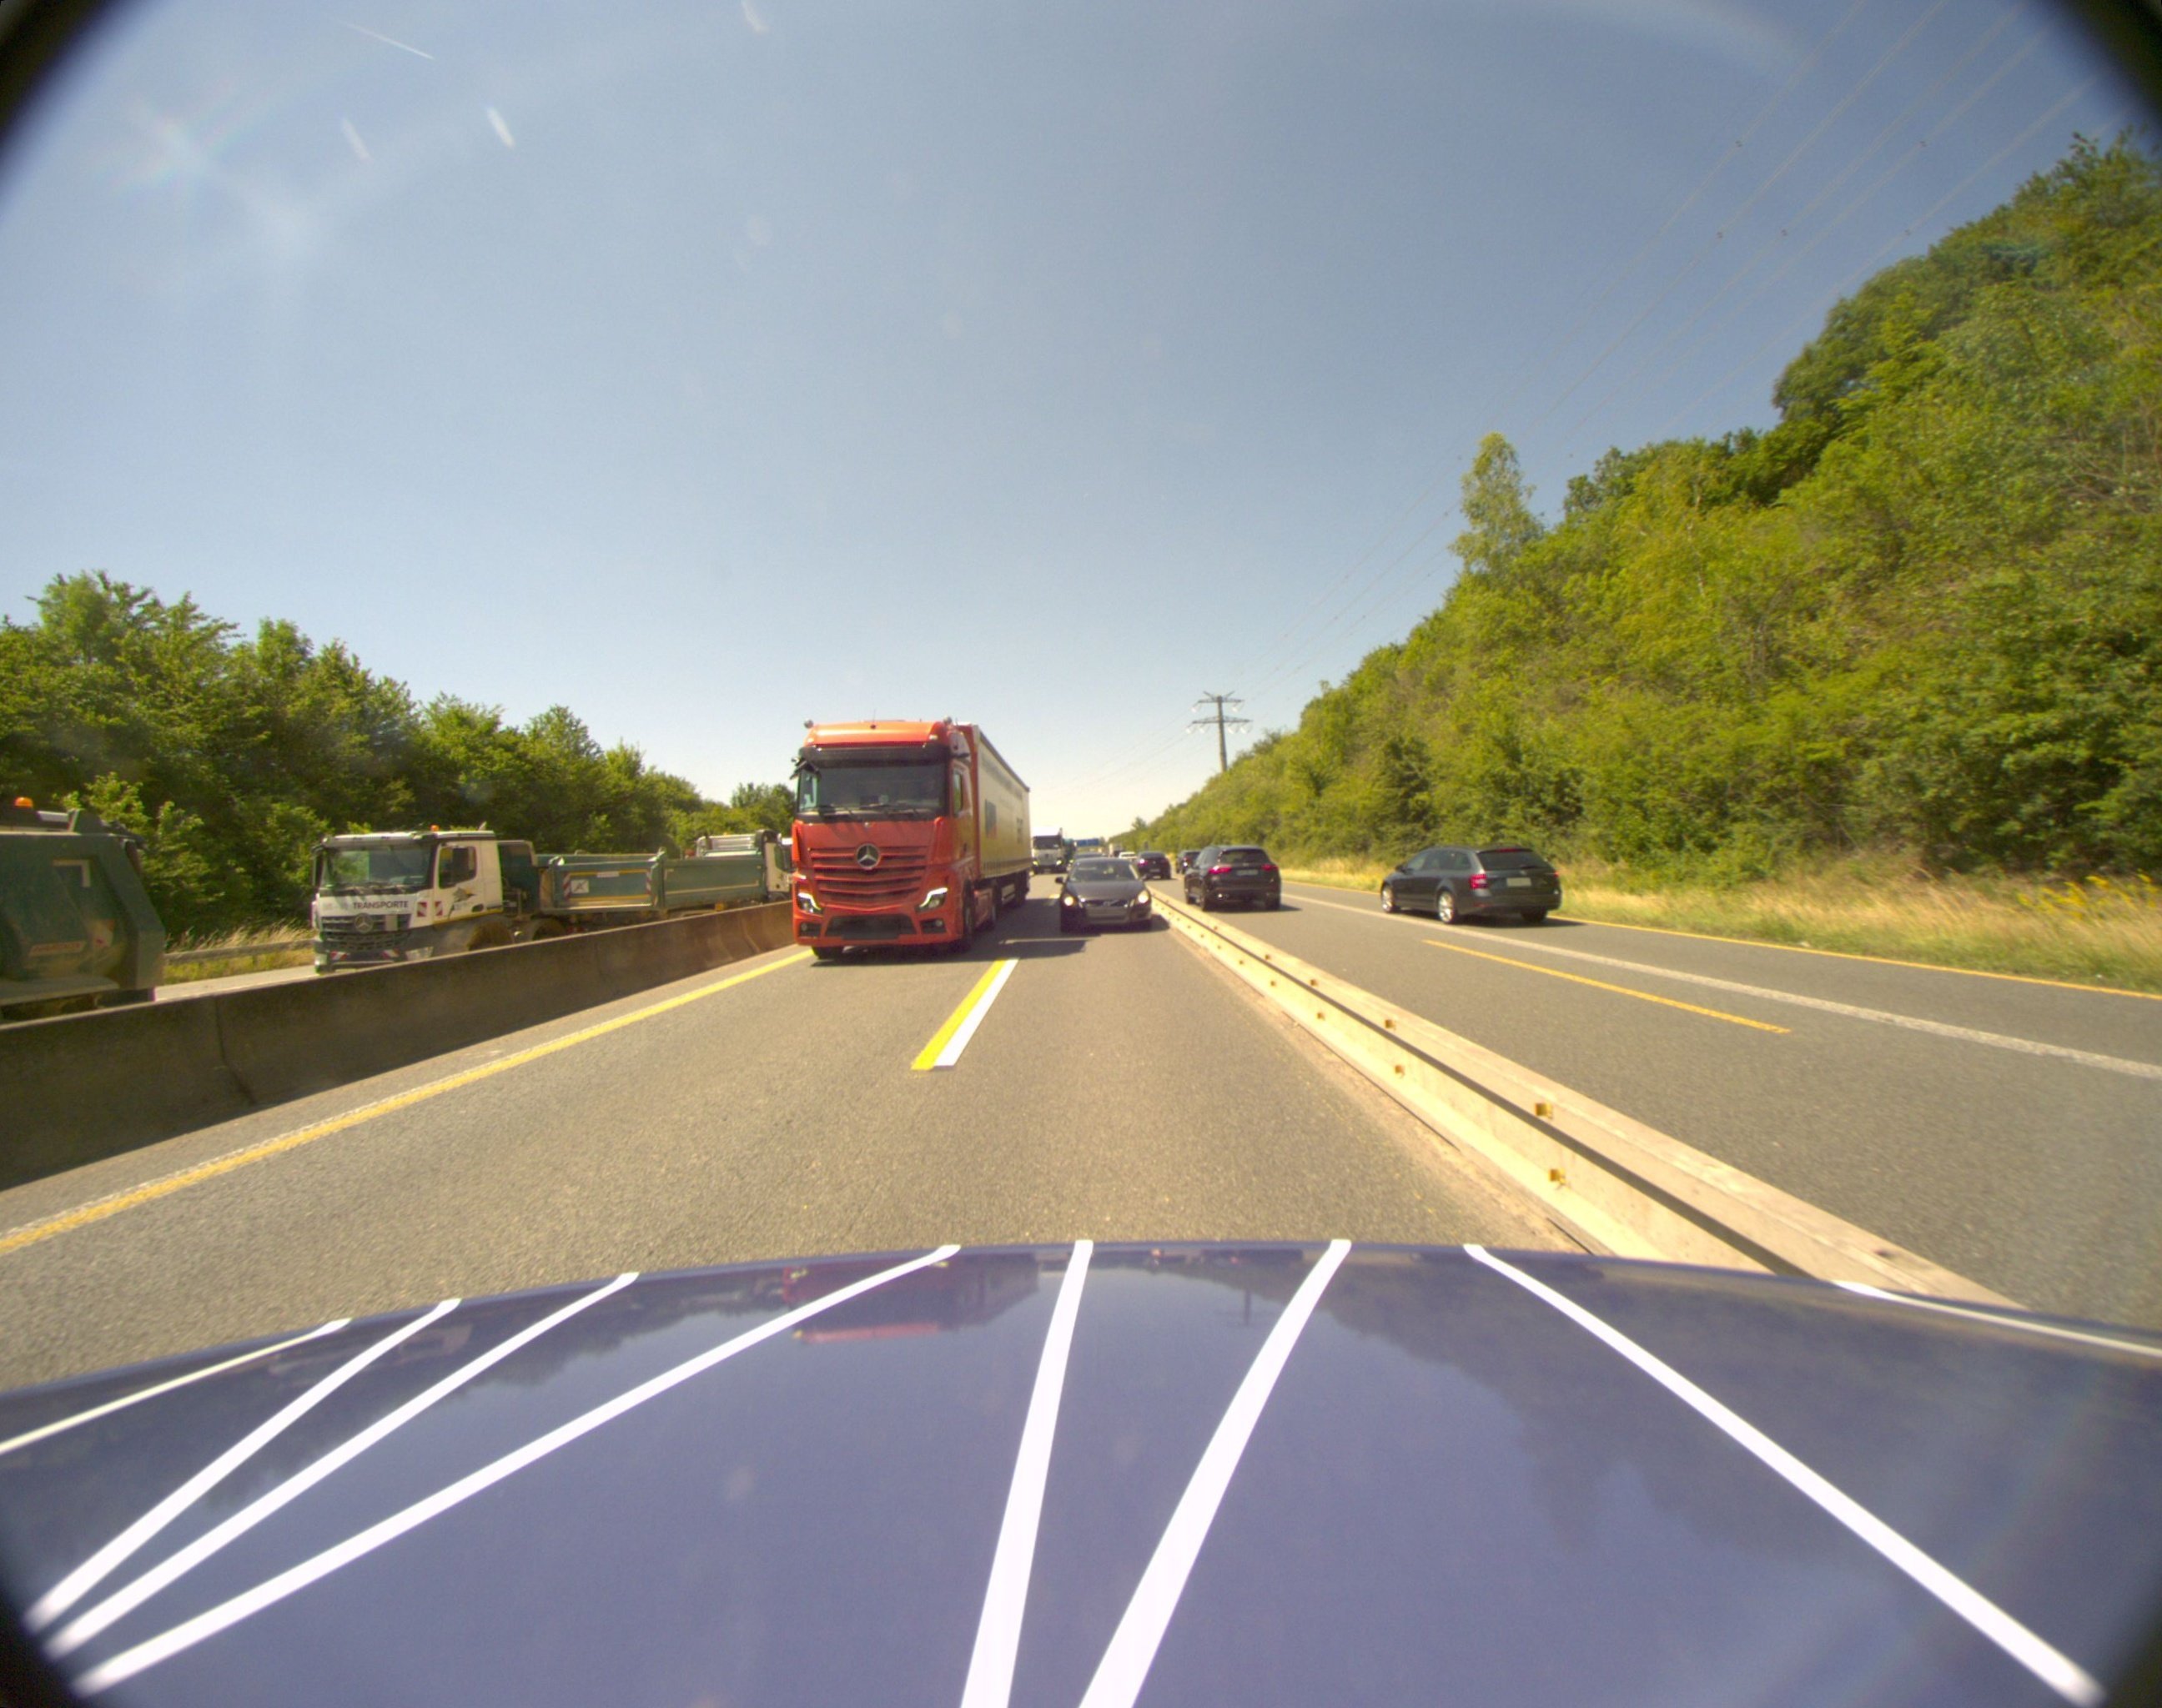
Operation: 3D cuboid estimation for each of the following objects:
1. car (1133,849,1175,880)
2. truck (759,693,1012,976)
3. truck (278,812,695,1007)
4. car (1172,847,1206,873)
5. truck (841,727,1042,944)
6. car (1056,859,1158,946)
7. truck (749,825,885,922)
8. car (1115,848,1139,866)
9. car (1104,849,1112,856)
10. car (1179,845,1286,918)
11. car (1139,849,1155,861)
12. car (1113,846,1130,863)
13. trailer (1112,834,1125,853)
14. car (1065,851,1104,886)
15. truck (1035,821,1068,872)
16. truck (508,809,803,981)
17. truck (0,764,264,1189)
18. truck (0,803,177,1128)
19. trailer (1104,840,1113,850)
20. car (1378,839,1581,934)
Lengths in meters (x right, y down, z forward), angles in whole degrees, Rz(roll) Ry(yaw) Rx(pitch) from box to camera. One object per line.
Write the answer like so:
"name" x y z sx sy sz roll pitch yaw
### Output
"car" 4.022 0.545 42.740 1.848 1.524 4.671 -3 0 0
"truck" -3.133 -0.313 14.336 2.689 3.987 6.725 -2 1 1
"truck" -13.537 1.019 18.993 2.694 3.536 9.601 -2 0 0
"car" 7.177 0.388 50.782 1.704 1.556 3.994 -3 0 0
"truck" -2.976 -0.426 20.972 2.689 3.987 13.217 -2 1 1
"car" 0.479 0.871 15.814 1.767 1.411 4.698 -2 1 0
"truck" -10.872 0.692 32.475 2.539 3.490 8.943 -2 0 0
"car" 4.124 0.273 69.440 1.848 1.524 4.671 -3 0 0
"car" 6.014 -0.257 169.038 1.717 1.417 4.169 -2 1 0
"car" 3.863 0.639 20.204 1.848 1.601 4.699 -3 0 0
"car" 8.609 0.089 99.378 1.798 1.516 4.531 -3 0 1
"car" 5.025 0.057 94.584 1.895 2.002 4.817 -3 0 1
"trailer" 9.139 -2.505 187.150 2.644 4.287 8.447 -3 0 0
"car" 0.217 0.687 37.784 1.767 1.523 4.698 -2 1 1
"truck" -2.514 -0.637 68.535 2.481 4.030 13.109 -2 0 0
"truck" -10.743 0.854 20.865 2.545 3.536 9.601 -2 0 0
"truck" -10.375 1.077 3.478 2.694 3.536 9.601 -2 0 0
"truck" -13.159 1.278 5.034 2.694 3.536 9.601 -2 0 0
"trailer" 9.474 -3.003 259.148 2.657 3.317 8.918 -4 0 1
"car" 7.430 0.539 14.691 1.727 1.513 4.184 -2 0 1
